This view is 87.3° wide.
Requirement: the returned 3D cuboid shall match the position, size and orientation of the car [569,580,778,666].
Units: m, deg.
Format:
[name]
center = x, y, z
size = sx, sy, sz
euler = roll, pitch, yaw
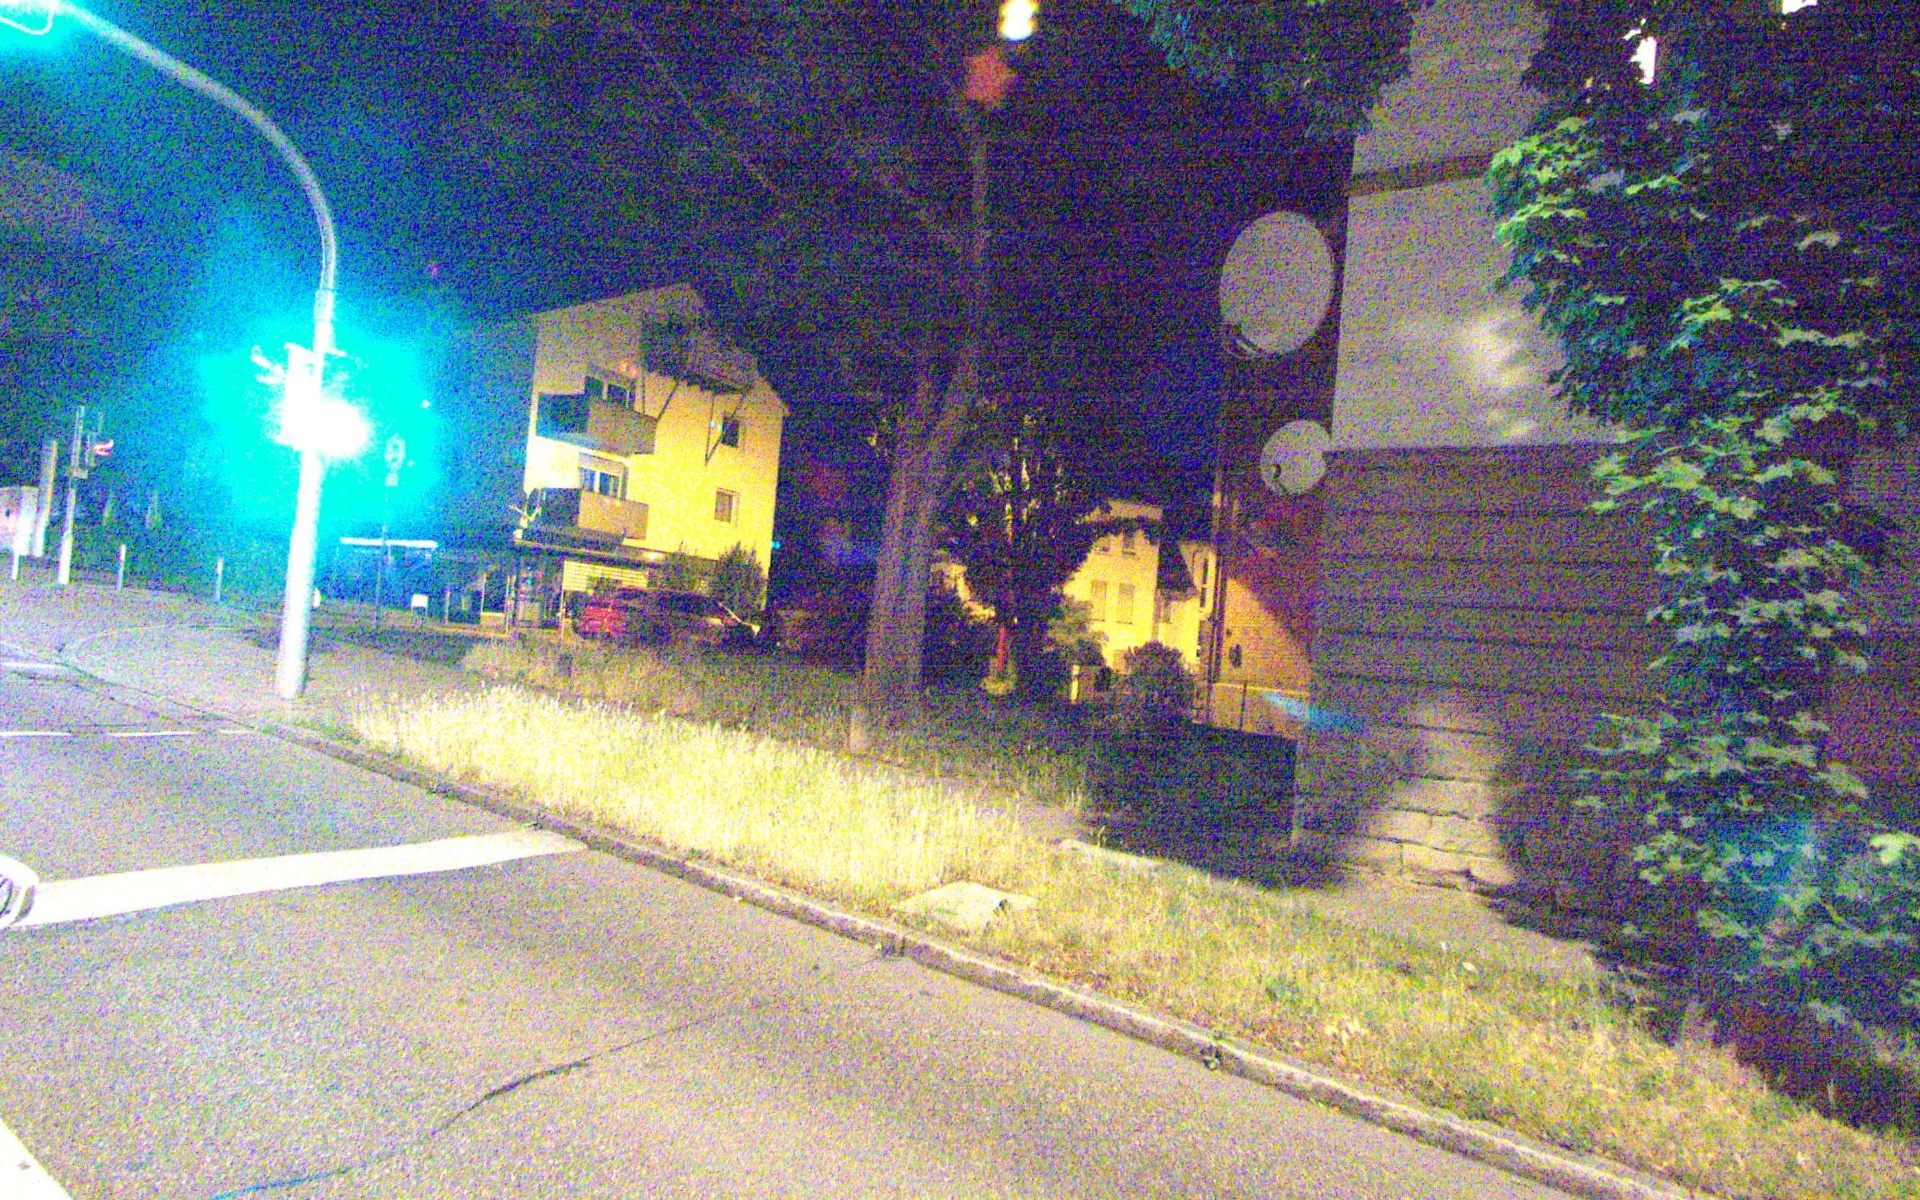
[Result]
[car]
center = -6.507, 0.583, 23.294
size = 1.778, 1.577, 4.366
euler = 3, -3, 38
